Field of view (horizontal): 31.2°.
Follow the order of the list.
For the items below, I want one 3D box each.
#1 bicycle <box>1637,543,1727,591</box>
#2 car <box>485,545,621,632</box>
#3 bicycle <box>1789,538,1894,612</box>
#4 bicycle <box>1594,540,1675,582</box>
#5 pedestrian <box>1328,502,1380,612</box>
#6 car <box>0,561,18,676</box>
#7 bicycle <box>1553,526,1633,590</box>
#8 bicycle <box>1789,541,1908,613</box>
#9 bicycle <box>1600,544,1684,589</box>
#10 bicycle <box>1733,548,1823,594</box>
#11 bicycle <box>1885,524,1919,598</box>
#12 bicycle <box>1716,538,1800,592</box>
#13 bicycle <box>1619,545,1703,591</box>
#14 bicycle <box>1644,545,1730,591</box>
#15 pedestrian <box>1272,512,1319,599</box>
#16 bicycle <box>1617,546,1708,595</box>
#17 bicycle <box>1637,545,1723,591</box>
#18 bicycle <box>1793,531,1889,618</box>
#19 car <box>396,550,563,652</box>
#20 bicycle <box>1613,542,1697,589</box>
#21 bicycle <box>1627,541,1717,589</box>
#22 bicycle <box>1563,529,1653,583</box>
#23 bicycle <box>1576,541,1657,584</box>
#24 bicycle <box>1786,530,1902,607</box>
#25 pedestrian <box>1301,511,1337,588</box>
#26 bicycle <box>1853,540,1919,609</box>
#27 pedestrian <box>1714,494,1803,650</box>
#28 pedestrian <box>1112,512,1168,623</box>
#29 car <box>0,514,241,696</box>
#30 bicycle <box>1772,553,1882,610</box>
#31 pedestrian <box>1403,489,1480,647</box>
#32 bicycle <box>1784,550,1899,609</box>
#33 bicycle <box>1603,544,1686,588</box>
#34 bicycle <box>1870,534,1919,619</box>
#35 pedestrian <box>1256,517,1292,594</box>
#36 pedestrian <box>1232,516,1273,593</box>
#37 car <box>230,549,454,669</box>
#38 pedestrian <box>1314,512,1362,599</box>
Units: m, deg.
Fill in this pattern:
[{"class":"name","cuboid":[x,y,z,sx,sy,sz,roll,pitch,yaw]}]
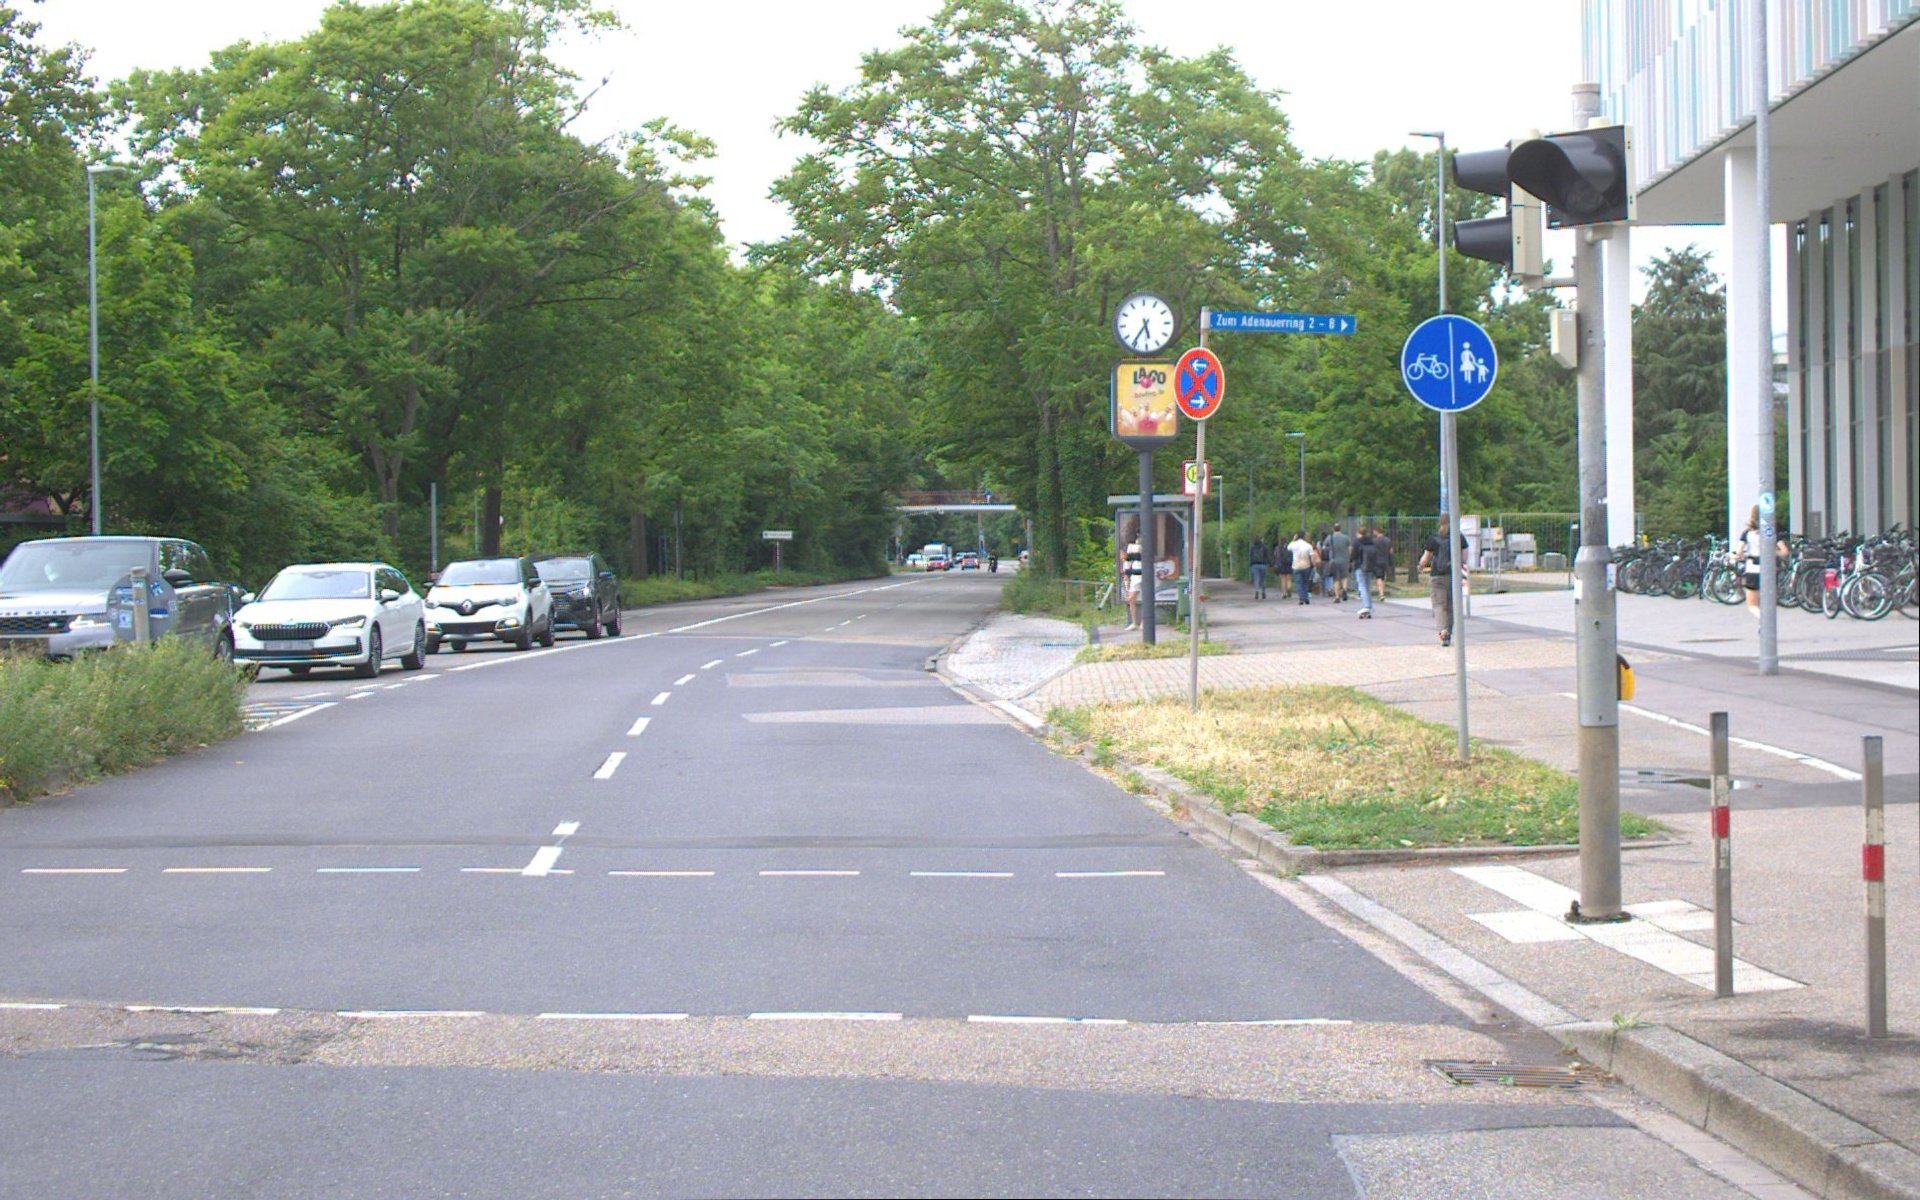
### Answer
[{"class":"bicycle","cuboid":[13.363,-0.609,63.659,1.532,0.831,0.556,-2,1,3]},{"class":"car","cuboid":[-7.776,-0.247,66.080,1.903,1.588,4.516,-1,1,2]},{"class":"bicycle","cuboid":[13.200,-0.377,51.498,1.400,1.040,0.559,-3,1,3]},{"class":"bicycle","cuboid":[14.492,-0.836,73.883,1.606,0.872,0.556,-1,1,-1]},{"class":"pedestrian","cuboid":[7.284,-0.802,63.632,0.842,2.007,0.894,-1,1,2]},{"class":"car","cuboid":[-14.509,0.279,46.812,1.859,1.602,4.592,1,1,3]},{"class":"bicycle","cuboid":[14.138,-0.935,76.820,1.648,1.329,0.463,-3,0,15]},{"class":"bicycle","cuboid":[13.450,-0.353,52.057,1.606,0.979,0.556,-4,1,3]},{"class":"bicycle","cuboid":[14.172,-0.699,71.465,1.606,0.872,0.556,-2,1,3]},{"class":"bicycle","cuboid":[14.346,-0.507,60.301,1.434,0.743,0.556,-2,1,3]},{"class":"bicycle","cuboid":[15.528,-0.636,53.631,1.986,1.140,0.647,-2,1,43]},{"class":"bicycle","cuboid":[13.588,-0.590,58.537,1.283,0.872,0.556,-2,1,3]},{"class":"bicycle","cuboid":[14.363,-0.656,70.470,1.606,0.872,0.556,-2,1,3]},{"class":"bicycle","cuboid":[14.447,-0.646,68.317,1.603,0.881,0.516,-1,1,2]},{"class":"pedestrian","cuboid":[7.914,-1.048,81.135,0.925,2.007,1.040,-1,1,-2]},{"class":"bicycle","cuboid":[13.429,-0.569,65.730,1.606,0.872,0.556,-2,1,3]},{"class":"bicycle","cuboid":[14.502,-0.647,69.274,1.606,0.872,0.556,-2,1,3]},{"class":"bicycle","cuboid":[12.272,-0.360,47.945,0.635,1.136,2.201,-4,1,-2]},{"class":"car","cuboid":[-7.924,-0.017,57.018,1.993,1.541,4.180,-2,1,2]},{"class":"bicycle","cuboid":[13.121,-0.648,64.904,1.455,0.836,0.556,-2,1,3]},{"class":"bicycle","cuboid":[13.810,-0.683,66.690,1.606,0.872,0.556,-2,1,3]},{"class":"bicycle","cuboid":[14.148,-0.953,75.040,1.794,1.078,0.626,-3,1,1]},{"class":"bicycle","cuboid":[13.942,-0.798,73.053,1.606,0.872,0.556,-2,1,3]},{"class":"bicycle","cuboid":[13.783,-0.493,53.626,1.645,1.087,0.572,-4,0,11]},{"class":"pedestrian","cuboid":[9.500,-1.349,90.986,0.824,2.007,0.720,-2,1,2]},{"class":"bicycle","cuboid":[13.998,-0.396,50.577,1.607,0.932,0.568,-3,1,13]},{"class":"pedestrian","cuboid":[9.581,-0.340,41.279,0.842,1.829,0.894,-1,1,2]},{"class":"pedestrian","cuboid":[3.364,-0.616,64.340,0.912,2.006,0.854,-3,3,1]},{"class":"car","cuboid":[-8.832,-0.011,34.426,1.994,1.681,4.947,1,1,3]},{"class":"bicycle","cuboid":[13.844,-0.293,54.907,1.606,0.872,0.556,-1,1,3]},{"class":"pedestrian","cuboid":[6.287,-0.424,44.918,0.842,2.007,0.894,-3,1,4]},{"class":"bicycle","cuboid":[13.491,-0.314,52.654,1.606,0.872,0.556,-1,1,3]},{"class":"bicycle","cuboid":[14.346,-0.719,72.074,1.606,0.872,0.556,-2,1,3]},{"class":"bicycle","cuboid":[12.672,-0.312,45.122,0.607,1.076,1.963,-3,1,-9]},{"class":"pedestrian","cuboid":[8.292,-1.185,90.742,0.824,2.007,0.720,-1,1,-2]},{"class":"pedestrian","cuboid":[7.732,-1.194,90.998,0.925,2.007,1.040,-1,1,-2]},{"class":"car","cuboid":[-8.066,0.075,45.298,1.904,1.460,4.911,1,1,2]},{"class":"pedestrian","cuboid":[8.881,-1.051,80.781,0.925,2.007,1.040,-1,1,-2]}]
